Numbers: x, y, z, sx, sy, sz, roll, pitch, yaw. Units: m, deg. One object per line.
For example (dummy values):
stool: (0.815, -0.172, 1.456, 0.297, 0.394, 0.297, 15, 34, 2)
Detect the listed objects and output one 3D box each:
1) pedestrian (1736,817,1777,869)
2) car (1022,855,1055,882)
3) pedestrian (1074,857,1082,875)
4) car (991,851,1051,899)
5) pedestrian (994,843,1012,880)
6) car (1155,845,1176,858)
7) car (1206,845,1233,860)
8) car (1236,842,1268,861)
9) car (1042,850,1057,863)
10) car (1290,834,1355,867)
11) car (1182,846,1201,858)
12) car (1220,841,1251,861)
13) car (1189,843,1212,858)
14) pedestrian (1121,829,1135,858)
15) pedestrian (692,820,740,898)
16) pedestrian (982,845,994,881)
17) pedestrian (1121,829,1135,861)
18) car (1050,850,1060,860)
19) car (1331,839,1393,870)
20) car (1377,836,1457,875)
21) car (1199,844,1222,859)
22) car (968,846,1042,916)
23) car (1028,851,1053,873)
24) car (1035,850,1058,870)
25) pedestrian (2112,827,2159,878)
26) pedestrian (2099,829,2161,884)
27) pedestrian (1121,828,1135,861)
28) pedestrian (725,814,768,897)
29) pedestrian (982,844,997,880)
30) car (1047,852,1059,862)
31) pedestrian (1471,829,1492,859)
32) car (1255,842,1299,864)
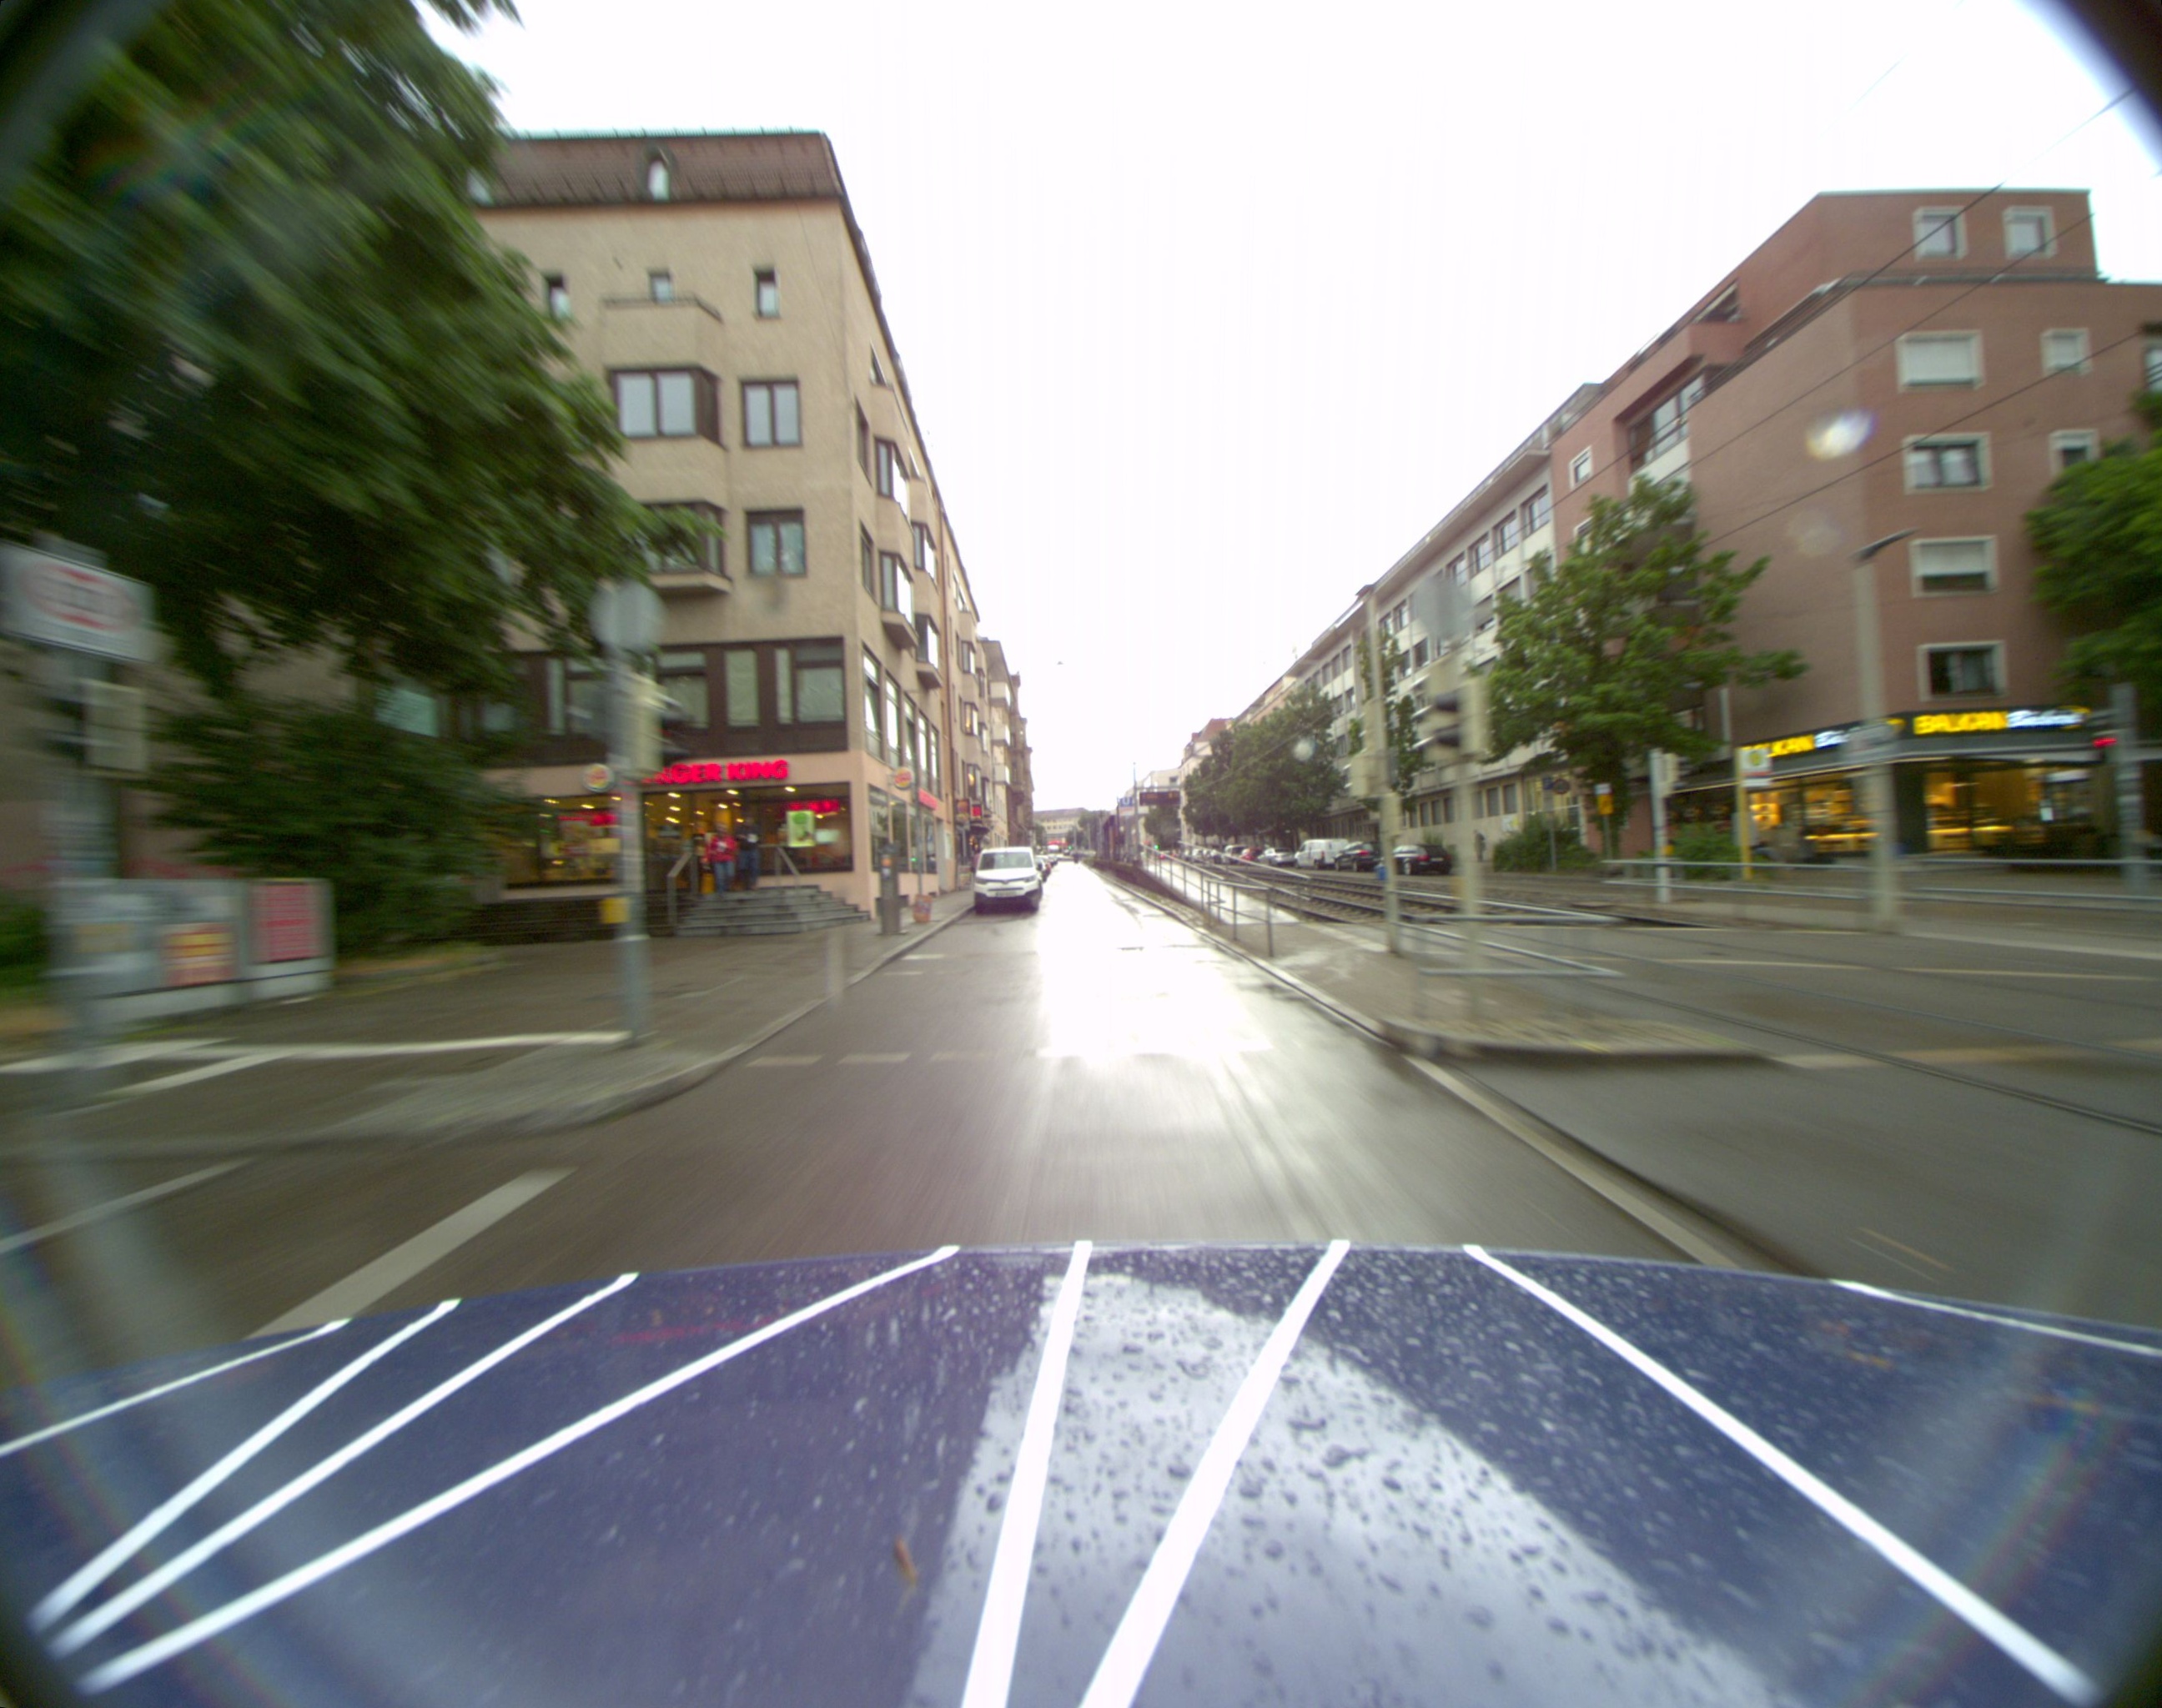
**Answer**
pedestrian: (21.206, -0.330, 23.859, 0.560, 1.587, 0.818, -2, 1, 0)
car: (-2.555, 0.877, 46.546, 1.912, 1.454, 4.244, -2, 1, -2)
pedestrian: (-0.320, 1.142, 75.667, 0.653, 1.752, 0.882, -2, 1, -5)
car: (-2.178, 0.727, 28.795, 1.911, 1.606, 4.412, -2, 1, -1)
pedestrian: (-3.840, 0.357, 37.581, 0.758, 1.809, 0.588, -2, 1, 0)
car: (10.361, -0.355, 93.357, 1.696, 1.454, 4.528, -2, 1, -4)
car: (13.727, -0.184, 75.448, 1.643, 1.432, 4.728, -2, 1, -2)
car: (14.414, -0.221, 64.232, 1.643, 1.530, 3.802, -2, 1, -2)
car: (-3.716, 0.290, 89.484, 1.628, 1.343, 3.828, -2, 1, -3)
car: (14.858, -0.232, 47.098, 1.912, 1.834, 5.254, -2, 1, -5)
car: (13.480, -0.224, 92.869, 1.718, 1.367, 4.456, -2, 1, 0)
car: (14.167, -0.293, 69.932, 1.678, 1.807, 4.430, -2, 1, -2)
car: (13.672, -0.425, 87.069, 1.662, 1.575, 4.336, -2, 1, -3)
pedestrian: (2.758, -0.633, 44.451, 0.713, 1.684, 0.700, -2, 1, -4)
pedestrian: (-7.896, 0.107, 16.426, 0.723, 1.640, 0.627, -1, 2, 39)
pedestrian: (-4.887, 0.473, 39.881, 0.530, 1.848, 0.556, -2, 1, -9)
pedestrian: (2.322, -0.448, 37.432, 0.585, 1.548, 0.700, -2, 1, -4)
car: (-4.173, 0.107, 121.111, 1.588, 1.443, 3.977, -2, 1, -2)
car: (15.036, -0.012, 40.885, 1.643, 1.527, 4.370, -2, 1, -1)
car: (15.250, 0.026, 34.746, 1.643, 1.614, 4.370, -2, 1, -1)
car: (13.757, -0.253, 80.683, 1.643, 1.529, 4.021, -2, 1, -1)
car: (-2.145, 0.693, 22.618, 1.912, 1.796, 4.775, -2, 1, -3)
car: (-2.935, 0.574, 56.040, 1.650, 1.454, 3.413, -2, 1, -1)
car: (-2.761, 0.476, 61.825, 1.721, 1.454, 3.444, -2, 1, -1)
pedestrian: (24.598, -0.039, 17.729, 0.679, 1.171, 0.607, -2, 1, -33)
pedestrian: (23.296, 0.049, 16.817, 0.677, 1.171, 0.608, -2, 1, 4)
pedestrian: (2.355, -0.476, 38.141, 0.585, 1.600, 0.700, -2, 1, -4)
pedestrian: (-7.460, 0.023, 16.952, 0.665, 1.809, 0.597, 0, 2, 39)
pedestrian: (-4.429, 0.392, 36.809, 0.612, 1.704, 0.581, -2, 1, 0)
car: (-3.892, 0.390, 106.437, 1.588, 1.343, 3.976, -2, 1, -3)
pedestrian: (20.614, -0.509, 39.128, 0.701, 1.548, 0.585, -2, 1, -7)
car: (14.388, -0.084, 56.013, 1.696, 1.454, 4.528, -2, 1, -4)
